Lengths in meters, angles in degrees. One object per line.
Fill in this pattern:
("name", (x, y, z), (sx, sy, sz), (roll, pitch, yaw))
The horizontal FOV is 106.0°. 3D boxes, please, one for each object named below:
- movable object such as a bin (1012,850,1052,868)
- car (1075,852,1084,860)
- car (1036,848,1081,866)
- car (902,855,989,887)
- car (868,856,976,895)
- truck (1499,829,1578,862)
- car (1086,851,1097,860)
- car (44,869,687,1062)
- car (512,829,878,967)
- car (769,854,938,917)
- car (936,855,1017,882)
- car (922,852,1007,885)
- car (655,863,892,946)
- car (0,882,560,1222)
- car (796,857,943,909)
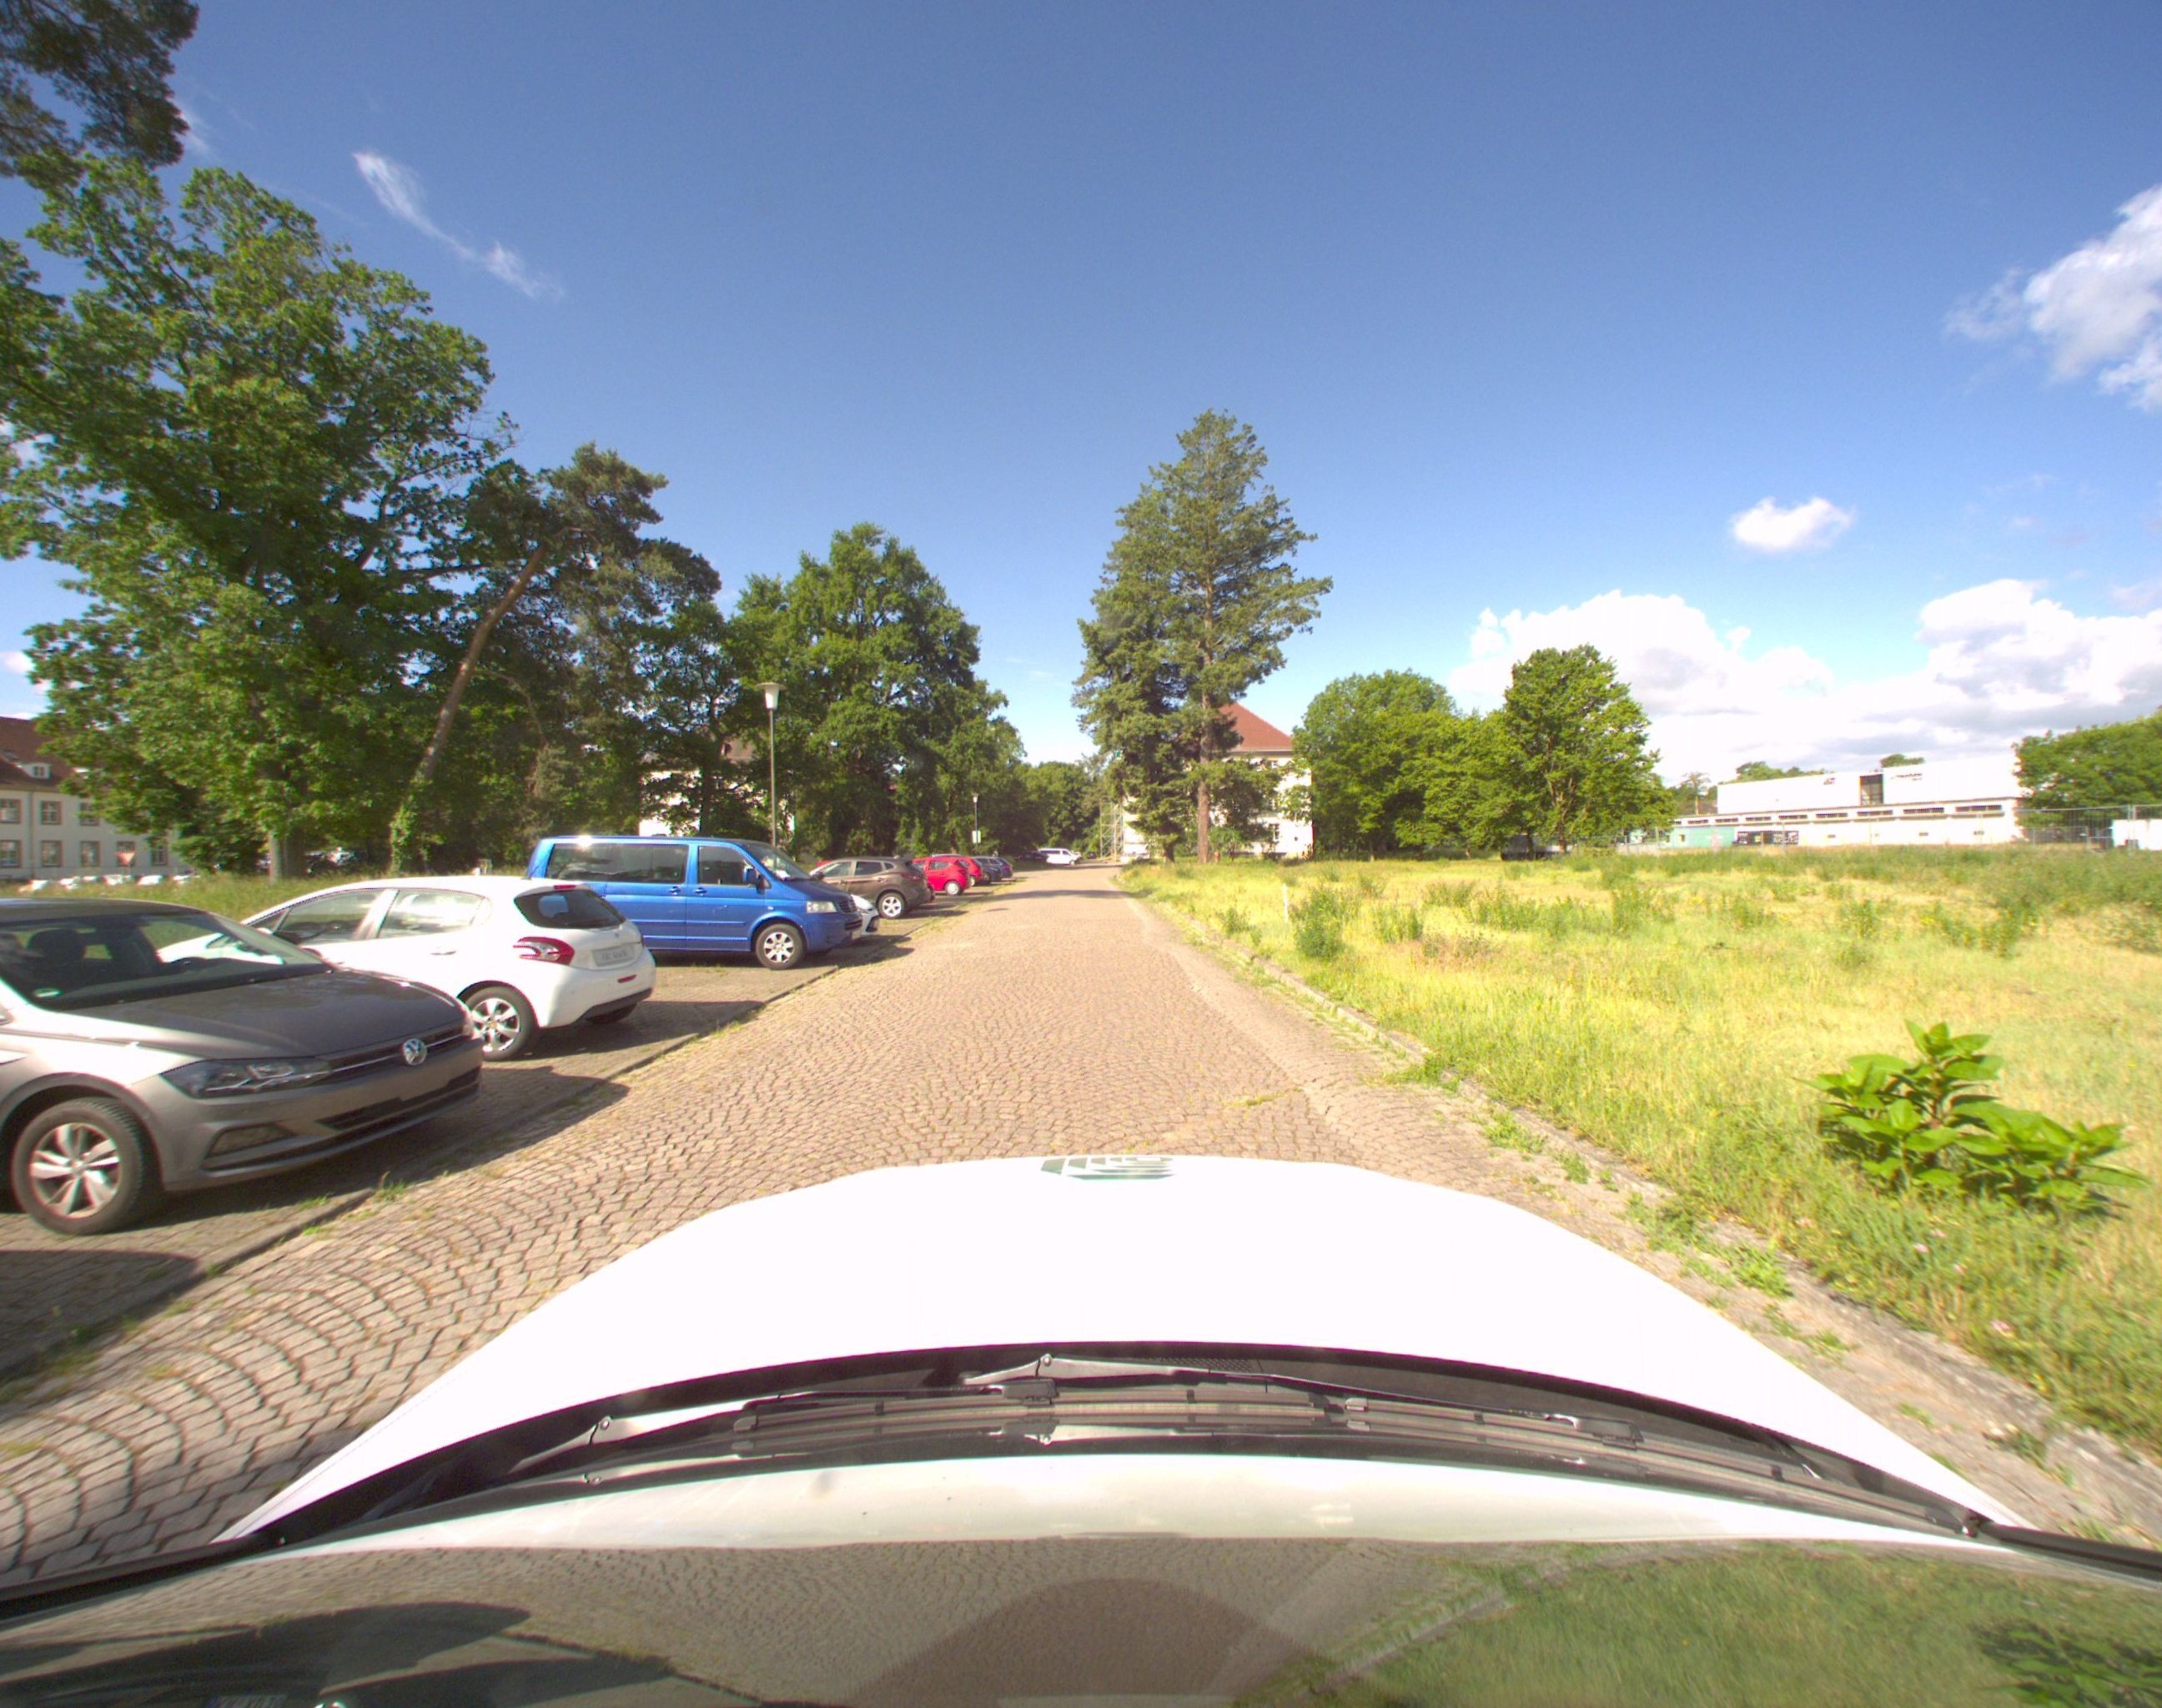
("movable object such as a bin", (-4.992, 0.482, 82.747), (3.537, 1.744, 2.034), (-2, 0, 18))
("car", (-0.294, 0.445, 161.935), (1.807, 1.579, 4.133), (-2, 0, -1))
("car", (-2.642, 0.354, 95.888), (5.220, 2.016, 1.949), (-1, 0, -2))
("car", (-6.589, 0.821, 39.878), (3.910, 1.433, 1.842), (-1, 0, 0))
("car", (-6.176, 0.813, 31.980), (3.913, 1.461, 1.840), (0, 0, -3))
("truck", (35.633, -0.640, 63.724), (2.227, 2.424, 6.882), (0, 0, -1))
("car", (2.099, 0.326, 162.284), (1.965, 1.668, 4.084), (-2, 0, -1))
("car", (-6.143, 0.904, 7.426), (4.184, 1.475, 1.823), (0, 0, -1))
("car", (-5.796, 0.642, 12.726), (4.704, 1.968, 2.004), (0, 0, -1))
("car", (-5.936, 0.802, 21.660), (3.943, 1.567, 1.972), (0, 1, -3))
("car", (-5.994, 0.839, 46.947), (4.343, 1.445, 1.922), (-1, 0, 2))
("car", (-6.012, 0.734, 42.264), (4.123, 1.579, 1.884), (-1, 0, -1))
("car", (-5.641, 0.903, 15.333), (3.808, 1.440, 1.681), (0, 0, -4))
("car", (-5.583, 0.909, 4.556), (4.063, 1.425, 1.923), (0, 0, 0))
("car", (-6.248, 0.850, 24.385), (3.913, 1.449, 1.865), (0, 0, -3))
